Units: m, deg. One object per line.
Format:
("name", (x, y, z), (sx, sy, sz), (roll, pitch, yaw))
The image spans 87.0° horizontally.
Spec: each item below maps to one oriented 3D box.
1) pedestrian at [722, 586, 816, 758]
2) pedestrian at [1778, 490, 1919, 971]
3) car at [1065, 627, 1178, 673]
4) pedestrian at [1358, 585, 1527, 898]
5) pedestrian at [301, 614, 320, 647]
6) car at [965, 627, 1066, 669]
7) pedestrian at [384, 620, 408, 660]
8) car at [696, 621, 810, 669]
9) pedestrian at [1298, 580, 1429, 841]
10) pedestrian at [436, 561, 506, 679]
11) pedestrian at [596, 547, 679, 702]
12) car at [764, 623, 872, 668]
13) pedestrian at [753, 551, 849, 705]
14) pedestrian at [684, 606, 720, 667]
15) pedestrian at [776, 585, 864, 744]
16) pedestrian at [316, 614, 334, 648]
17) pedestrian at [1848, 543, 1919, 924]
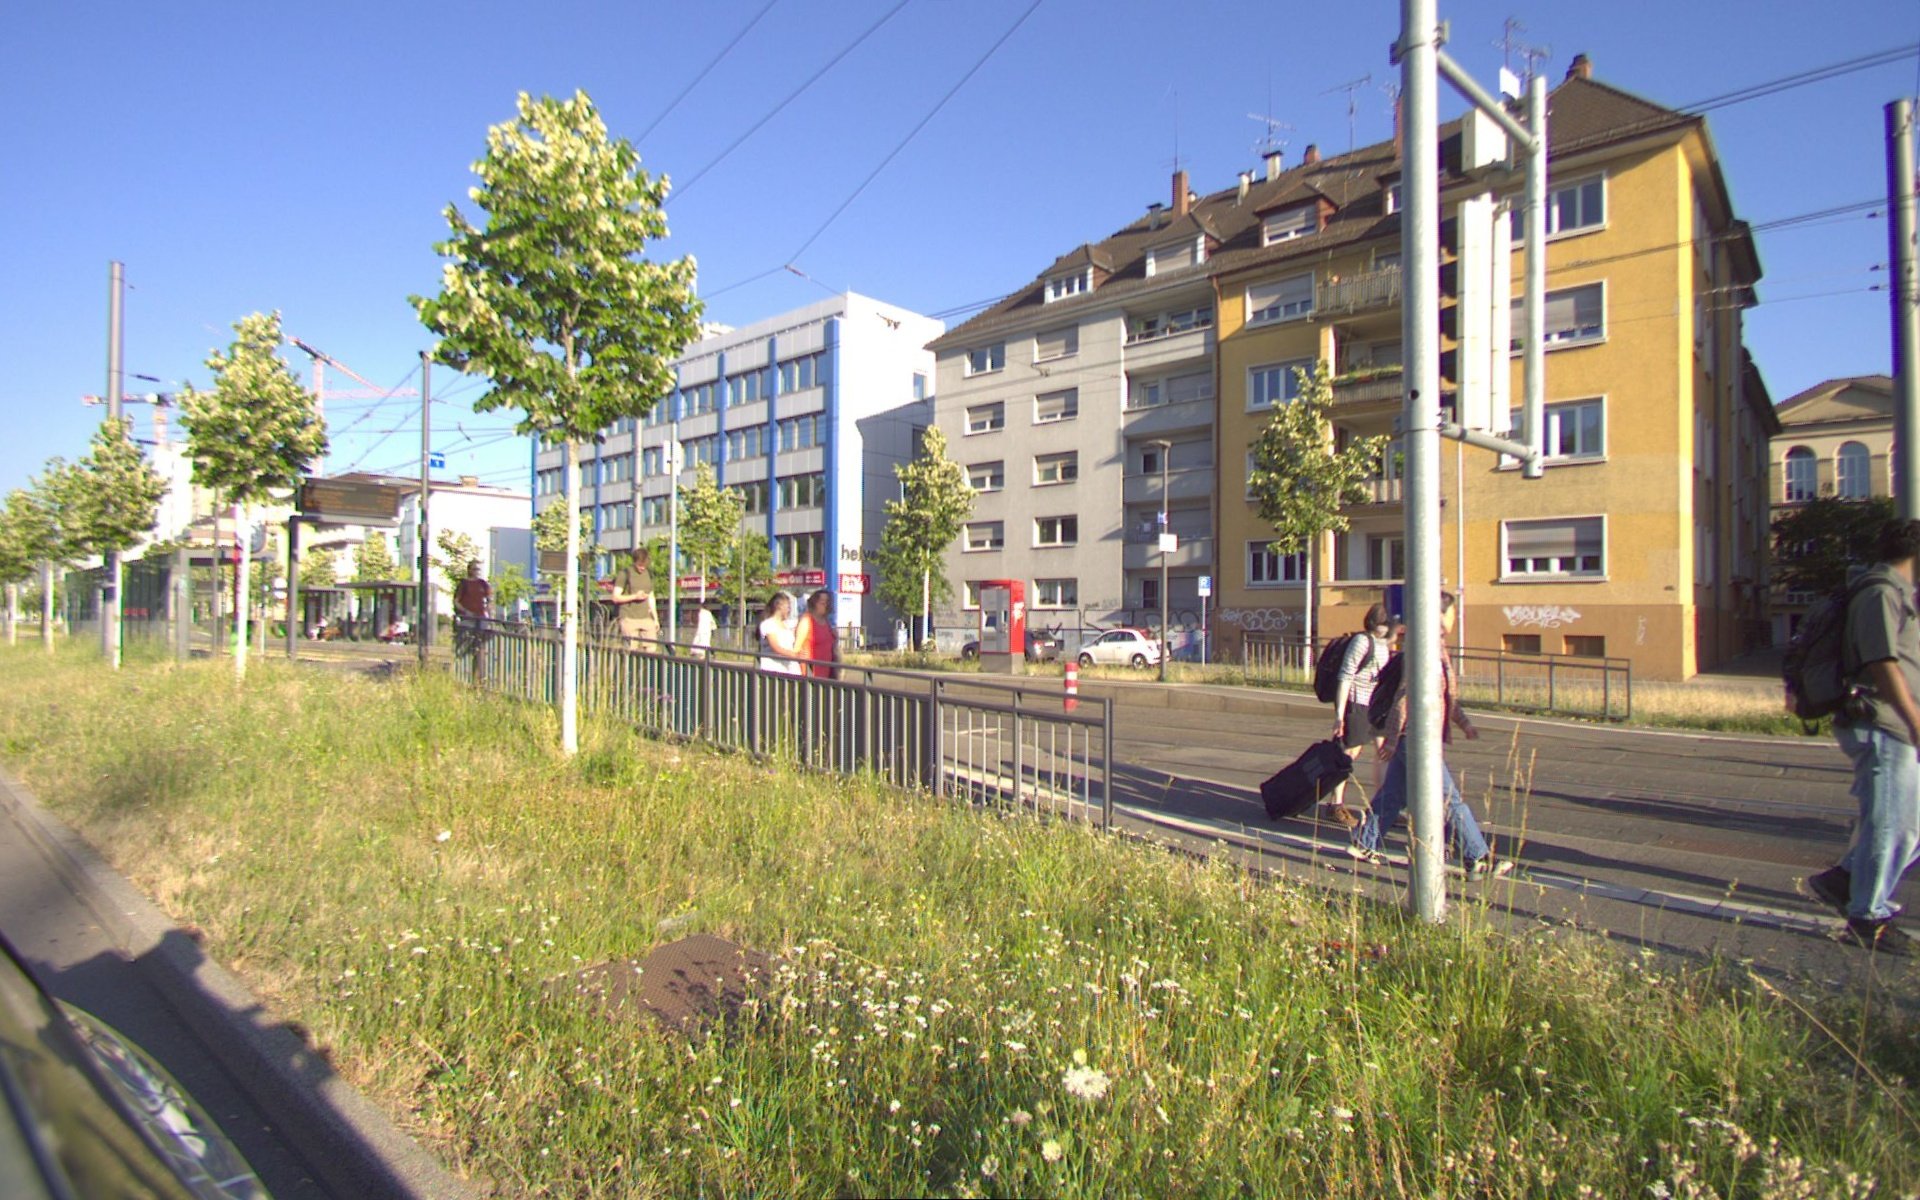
("pedestrian", (-1.699, 0.610, 9.015), (0.524, 1.467, 0.630), (-1, 0, 39))
("pedestrian", (3.927, 0.493, 4.073), (0.900, 1.814, 0.777), (3, 2, 42))
("car", (5.938, 1.814, 37.361), (3.672, 1.519, 1.861), (-1, 0, 41))
("pedestrian", (2.639, 0.701, 5.518), (0.619, 1.547, 0.777), (-1, 0, 42))
("pedestrian", (-33.612, 1.579, 52.384), (0.772, 1.705, 0.651), (-1, 0, 44))
("car", (2.210, 1.862, 40.483), (3.672, 1.519, 1.861), (-1, 0, 41))
("pedestrian", (-24.574, 1.738, 44.101), (0.771, 1.705, 0.651), (-1, 0, 39))
("car", (-7.220, 1.520, 35.138), (3.941, 1.519, 1.861), (-1, 0, 41))
("pedestrian", (2.763, 0.703, 6.918), (0.619, 1.653, 0.778), (-1, -1, 39))
("pedestrian", (-7.315, 0.289, 15.146), (0.620, 1.711, 0.776), (-1, 0, 44))
("pedestrian", (-4.050, 0.294, 12.706), (0.620, 1.878, 0.776), (-1, 0, 44))
("car", (-5.295, 1.638, 37.636), (3.941, 1.519, 1.861), (-1, 0, 41))
("pedestrian", (-1.681, 0.282, 10.742), (0.620, 1.560, 0.776), (-1, 0, 44))
("pedestrian", (-7.340, 1.025, 28.818), (0.620, 1.685, 0.776), (-1, 0, 44))
("pedestrian", (-1.322, 0.589, 9.598), (0.524, 1.442, 0.630), (-1, 0, 37))
("pedestrian", (-31.902, 1.557, 50.839), (0.650, 1.705, 0.773), (-1, 0, -43))
("pedestrian", (4.608, 0.573, 4.528), (0.899, 1.653, 0.778), (-1, 0, 39))
